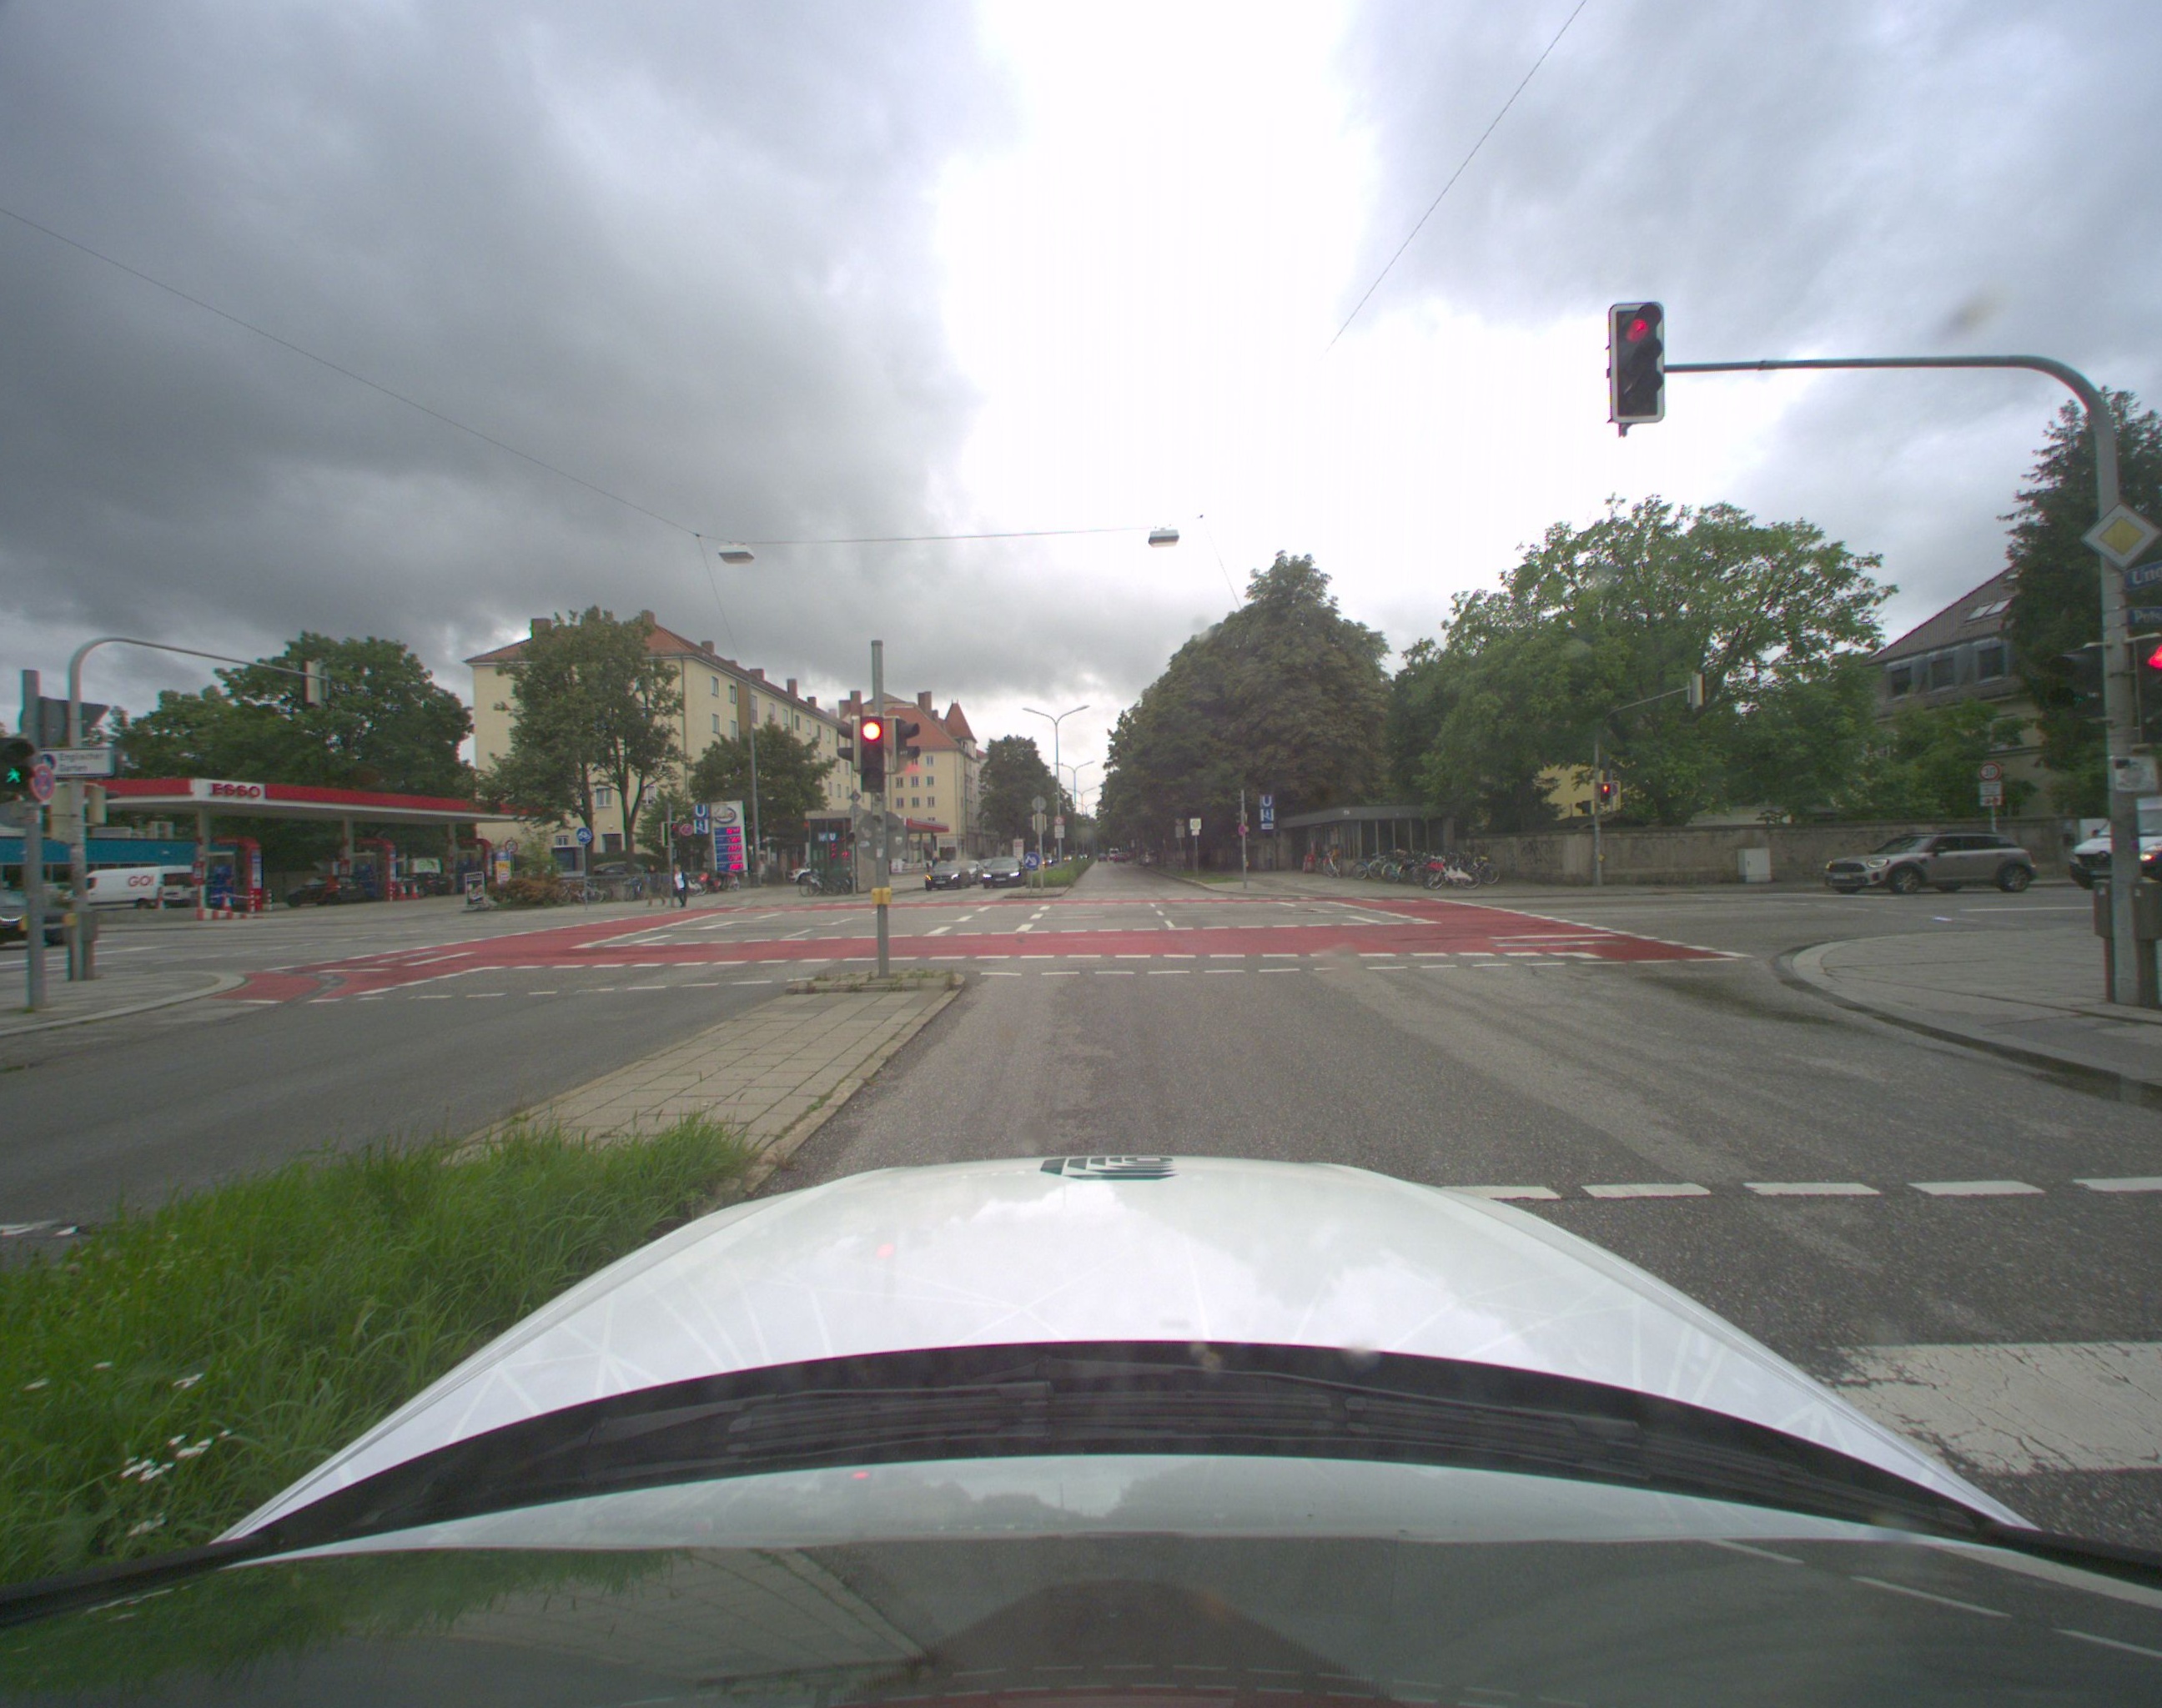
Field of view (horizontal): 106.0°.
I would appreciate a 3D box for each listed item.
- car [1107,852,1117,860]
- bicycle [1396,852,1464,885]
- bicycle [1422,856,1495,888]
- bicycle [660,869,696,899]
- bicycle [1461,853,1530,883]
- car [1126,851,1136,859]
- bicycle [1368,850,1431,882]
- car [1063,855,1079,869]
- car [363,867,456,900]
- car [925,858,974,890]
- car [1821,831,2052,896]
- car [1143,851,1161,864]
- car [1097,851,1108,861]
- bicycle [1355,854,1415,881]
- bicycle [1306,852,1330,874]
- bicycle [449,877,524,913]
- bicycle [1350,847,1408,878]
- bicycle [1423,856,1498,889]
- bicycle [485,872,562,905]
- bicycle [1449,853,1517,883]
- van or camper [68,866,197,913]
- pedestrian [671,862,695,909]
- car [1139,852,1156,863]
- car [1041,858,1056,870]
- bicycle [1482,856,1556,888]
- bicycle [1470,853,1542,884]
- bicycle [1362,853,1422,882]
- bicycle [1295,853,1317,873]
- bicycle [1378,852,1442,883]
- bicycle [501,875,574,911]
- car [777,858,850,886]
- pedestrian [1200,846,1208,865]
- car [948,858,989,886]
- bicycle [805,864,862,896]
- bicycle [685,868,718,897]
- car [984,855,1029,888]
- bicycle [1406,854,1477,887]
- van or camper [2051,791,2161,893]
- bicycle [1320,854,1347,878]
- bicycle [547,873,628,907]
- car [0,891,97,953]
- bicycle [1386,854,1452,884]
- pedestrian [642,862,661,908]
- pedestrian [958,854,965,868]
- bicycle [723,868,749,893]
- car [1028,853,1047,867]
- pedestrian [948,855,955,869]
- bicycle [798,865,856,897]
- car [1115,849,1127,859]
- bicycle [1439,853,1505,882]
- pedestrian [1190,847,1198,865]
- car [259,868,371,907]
[{"bbox_3d":[6.590,0.417,172.223,1.986,1.756,4.001,-2,0,1],"label":"car"},{"bbox_3d":[12.410,0.522,28.999,2.130,1.101,0.604,-2,0,9],"label":"bicycle"},{"bbox_3d":[12.729,0.607,27.531,2.130,1.014,0.636,-2,0,9],"label":"bicycle"},{"bbox_3d":[-17.863,1.301,36.127,0.607,1.236,2.183,-2,0,-5],"label":"bicycle"},{"bbox_3d":[14.919,0.515,29.357,2.130,1.014,0.636,-2,0,9],"label":"bicycle"},{"bbox_3d":[9.759,0.207,159.381,1.737,1.427,3.900,-2,0,1],"label":"car"},{"bbox_3d":[12.170,0.454,31.187,2.130,1.178,0.604,-2,0,9],"label":"bicycle"},{"bbox_3d":[-1.040,0.801,85.771,1.463,1.399,3.701,-2,0,1],"label":"car"},{"bbox_3d":[-40.161,1.737,48.792,3.973,1.784,1.858,-2,0,1],"label":"car"},{"bbox_3d":[-6.717,1.006,41.915,1.753,1.460,4.001,-2,0,1],"label":"car"},{"bbox_3d":[22.228,0.241,21.285,4.152,1.514,1.696,-2,0,2],"label":"car"},{"bbox_3d":[7.818,0.397,89.771,1.737,1.363,3.807,-2,0,1],"label":"car"},{"bbox_3d":[3.764,0.270,141.510,1.850,1.684,4.001,-2,0,1],"label":"car"},{"bbox_3d":[12.216,0.526,32.769,2.130,1.014,0.604,-2,0,9],"label":"bicycle"},{"bbox_3d":[11.259,0.432,38.759,0.555,1.014,2.015,-2,0,0],"label":"bicycle"},{"bbox_3d":[-22.830,1.566,31.301,2.179,1.236,0.764,-2,0,-8],"label":"bicycle"},{"bbox_3d":[12.232,0.348,33.489,2.130,1.218,0.604,-2,0,9],"label":"bicycle"},{"bbox_3d":[12.513,0.624,26.911,2.130,1.014,0.604,-2,0,9],"label":"bicycle"},{"bbox_3d":[-21.884,1.333,32.011,2.394,1.251,0.789,0,-1,-10],"label":"bicycle"},{"bbox_3d":[14.861,0.517,30.152,2.130,1.014,0.636,-2,0,9],"label":"bicycle"},{"bbox_3d":[-52.004,1.921,44.729,4.526,2.323,1.917,-2,0,-3],"label":"van or camper"},{"bbox_3d":[-14.595,1.148,29.867,0.531,1.695,0.578,-2,0,5],"label":"pedestrian"},{"bbox_3d":[8.111,0.423,99.756,1.737,1.363,3.807,-2,0,1],"label":"car"},{"bbox_3d":[-4.467,1.396,111.779,1.753,1.493,4.001,-2,0,1],"label":"car"},{"bbox_3d":[14.922,0.605,27.791,2.130,1.014,0.636,-2,0,9],"label":"bicycle"},{"bbox_3d":[14.891,0.509,28.589,2.130,1.014,0.636,-2,0,9],"label":"bicycle"},{"bbox_3d":[12.162,0.516,31.889,2.130,1.062,0.604,-2,0,9],"label":"bicycle"},{"bbox_3d":[11.614,0.456,42.138,0.555,1.014,2.015,-2,0,0],"label":"bicycle"},{"bbox_3d":[12.281,0.498,30.446,2.130,1.086,0.604,-2,0,9],"label":"bicycle"},{"bbox_3d":[-20.896,1.494,31.353,2.180,1.236,0.763,-2,0,-10],"label":"bicycle"},{"bbox_3d":[-17.008,1.138,51.842,1.793,1.608,3.991,-2,0,44],"label":"car"},{"bbox_3d":[11.249,0.138,74.680,0.674,1.682,0.684,-2,0,7],"label":"pedestrian"},{"bbox_3d":[-6.685,1.045,48.709,1.753,1.460,4.001,-2,0,1],"label":"car"},{"bbox_3d":[-10.978,1.156,36.115,2.276,1.304,0.694,-2,0,2],"label":"bicycle"},{"bbox_3d":[-17.183,1.282,36.943,0.607,1.236,2.183,-2,0,-5],"label":"bicycle"},{"bbox_3d":[-3.673,0.847,40.726,1.753,1.493,4.001,-2,0,1],"label":"car"},{"bbox_3d":[12.530,0.565,28.341,2.130,1.071,0.604,-2,0,9],"label":"bicycle"},{"bbox_3d":[28.696,-0.375,20.623,5.529,2.469,2.069,-2,0,3],"label":"van or camper"},{"bbox_3d":[11.152,0.496,36.027,0.555,1.014,2.015,-2,0,0],"label":"bicycle"},{"bbox_3d":[-19.590,1.418,32.409,2.720,1.251,0.786,0,-1,-29],"label":"bicycle"},{"bbox_3d":[-27.730,1.739,20.695,3.532,1.412,1.666,-2,0,3],"label":"car"},{"bbox_3d":[12.301,0.532,29.716,2.130,1.014,0.604,-2,0,9],"label":"bicycle"},{"bbox_3d":[-16.167,1.171,30.639,0.593,1.695,0.571,-2,0,-29],"label":"pedestrian"},{"bbox_3d":[-13.978,0.815,95.235,0.693,1.638,0.738,-2,0,1],"label":"pedestrian"},{"bbox_3d":[-17.407,1.317,41.095,0.607,1.145,1.962,-2,0,-5],"label":"bicycle"},{"bbox_3d":[-5.348,0.692,100.404,1.869,1.668,4.003,-2,0,3],"label":"car"},{"bbox_3d":[-15.758,0.932,99.104,0.693,1.638,0.738,-2,0,1],"label":"pedestrian"},{"bbox_3d":[-11.024,1.169,35.335,2.262,1.304,0.704,-2,0,2],"label":"bicycle"},{"bbox_3d":[6.518,0.047,133.830,1.915,1.684,4.001,0,0,2],"label":"car"},{"bbox_3d":[14.829,0.521,30.938,2.130,1.014,0.636,-2,0,9],"label":"bicycle"},{"bbox_3d":[10.372,0.190,74.524,0.674,1.682,0.684,-2,0,7],"label":"pedestrian"},{"bbox_3d":[-39.503,1.718,42.073,3.973,1.784,1.858,-2,0,1],"label":"car"}]
